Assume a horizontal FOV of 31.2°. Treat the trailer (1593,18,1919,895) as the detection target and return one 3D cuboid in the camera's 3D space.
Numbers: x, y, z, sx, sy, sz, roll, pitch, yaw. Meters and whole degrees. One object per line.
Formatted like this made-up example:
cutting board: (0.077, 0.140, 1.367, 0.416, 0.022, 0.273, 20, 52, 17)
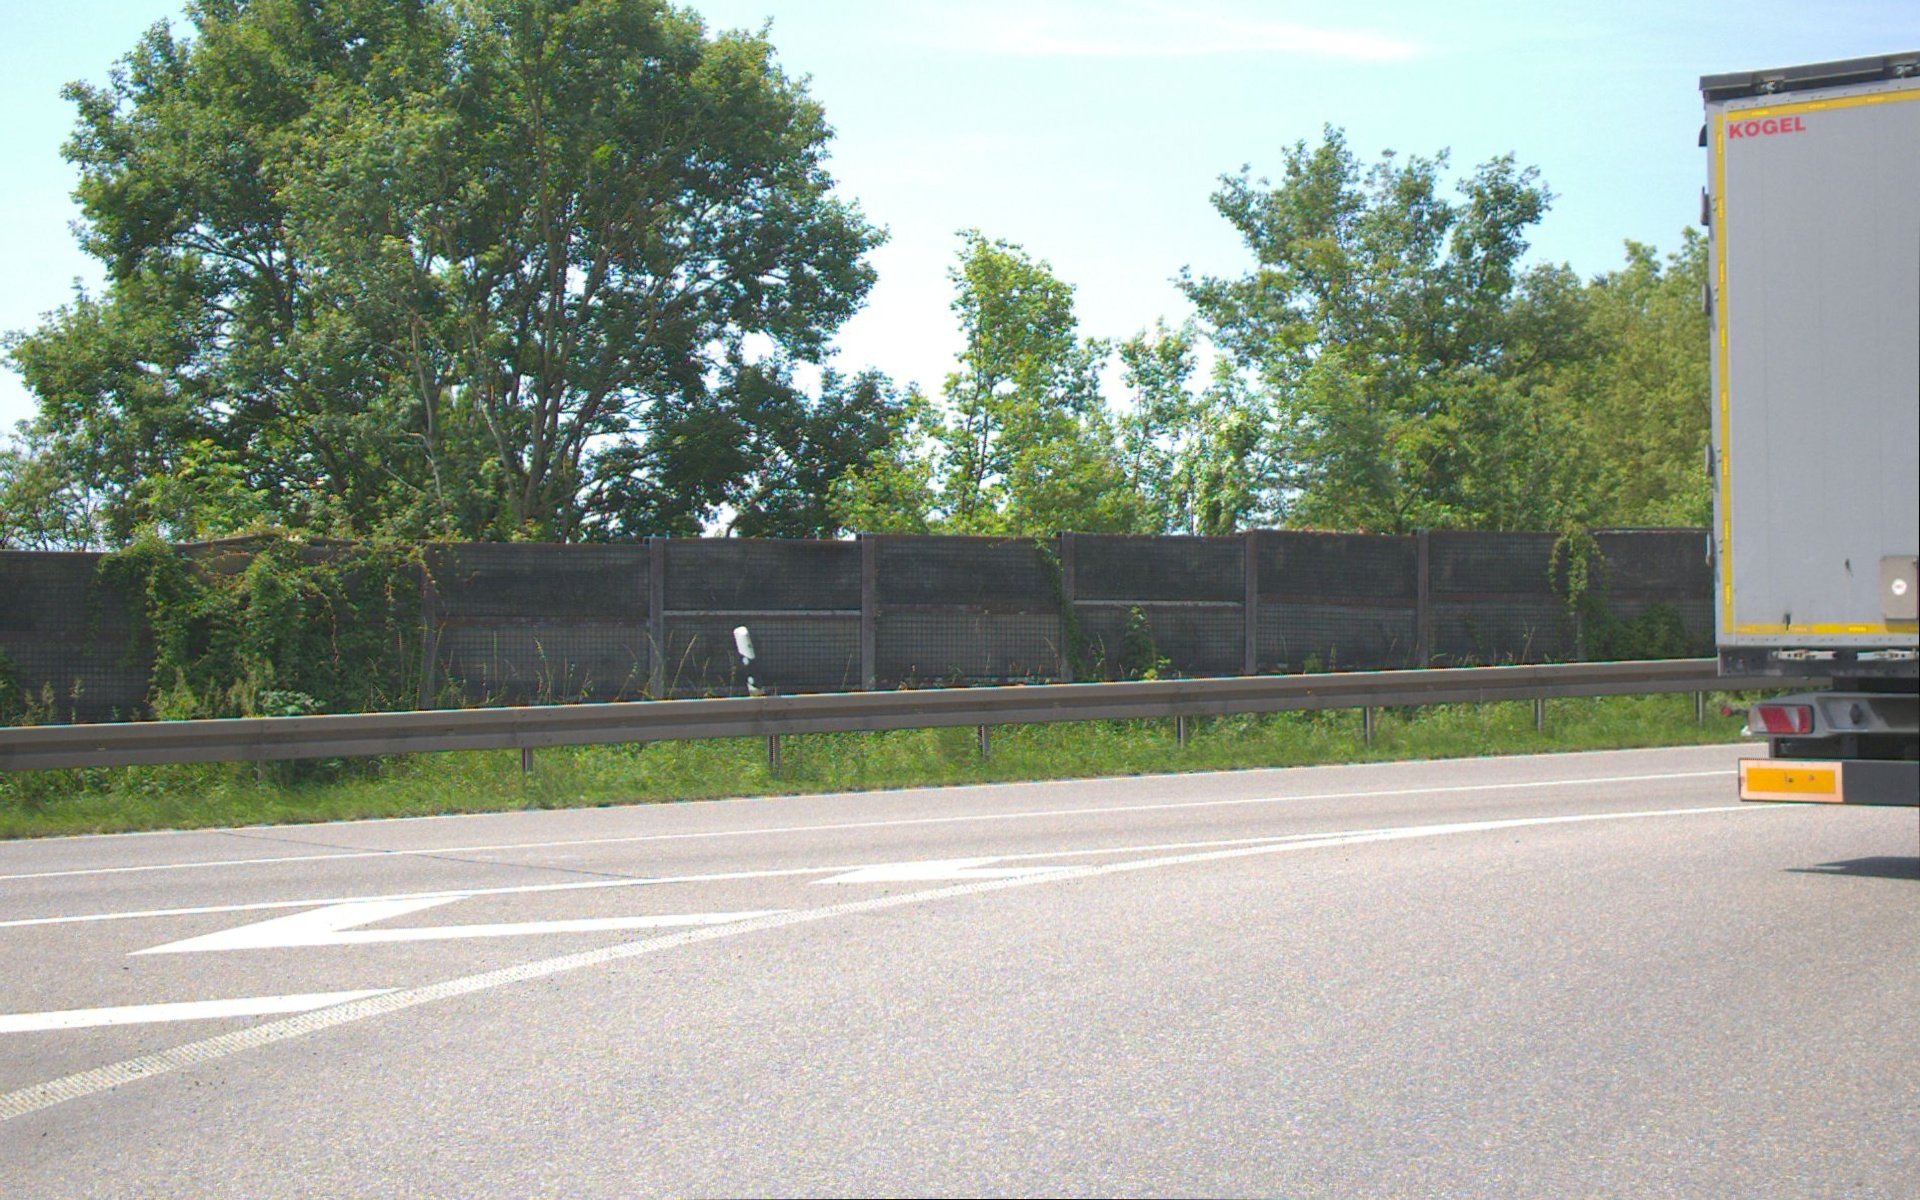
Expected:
trailer: (8.781, -0.681, 20.793, 3.034, 4.021, 13.318, 0, 0, 43)
